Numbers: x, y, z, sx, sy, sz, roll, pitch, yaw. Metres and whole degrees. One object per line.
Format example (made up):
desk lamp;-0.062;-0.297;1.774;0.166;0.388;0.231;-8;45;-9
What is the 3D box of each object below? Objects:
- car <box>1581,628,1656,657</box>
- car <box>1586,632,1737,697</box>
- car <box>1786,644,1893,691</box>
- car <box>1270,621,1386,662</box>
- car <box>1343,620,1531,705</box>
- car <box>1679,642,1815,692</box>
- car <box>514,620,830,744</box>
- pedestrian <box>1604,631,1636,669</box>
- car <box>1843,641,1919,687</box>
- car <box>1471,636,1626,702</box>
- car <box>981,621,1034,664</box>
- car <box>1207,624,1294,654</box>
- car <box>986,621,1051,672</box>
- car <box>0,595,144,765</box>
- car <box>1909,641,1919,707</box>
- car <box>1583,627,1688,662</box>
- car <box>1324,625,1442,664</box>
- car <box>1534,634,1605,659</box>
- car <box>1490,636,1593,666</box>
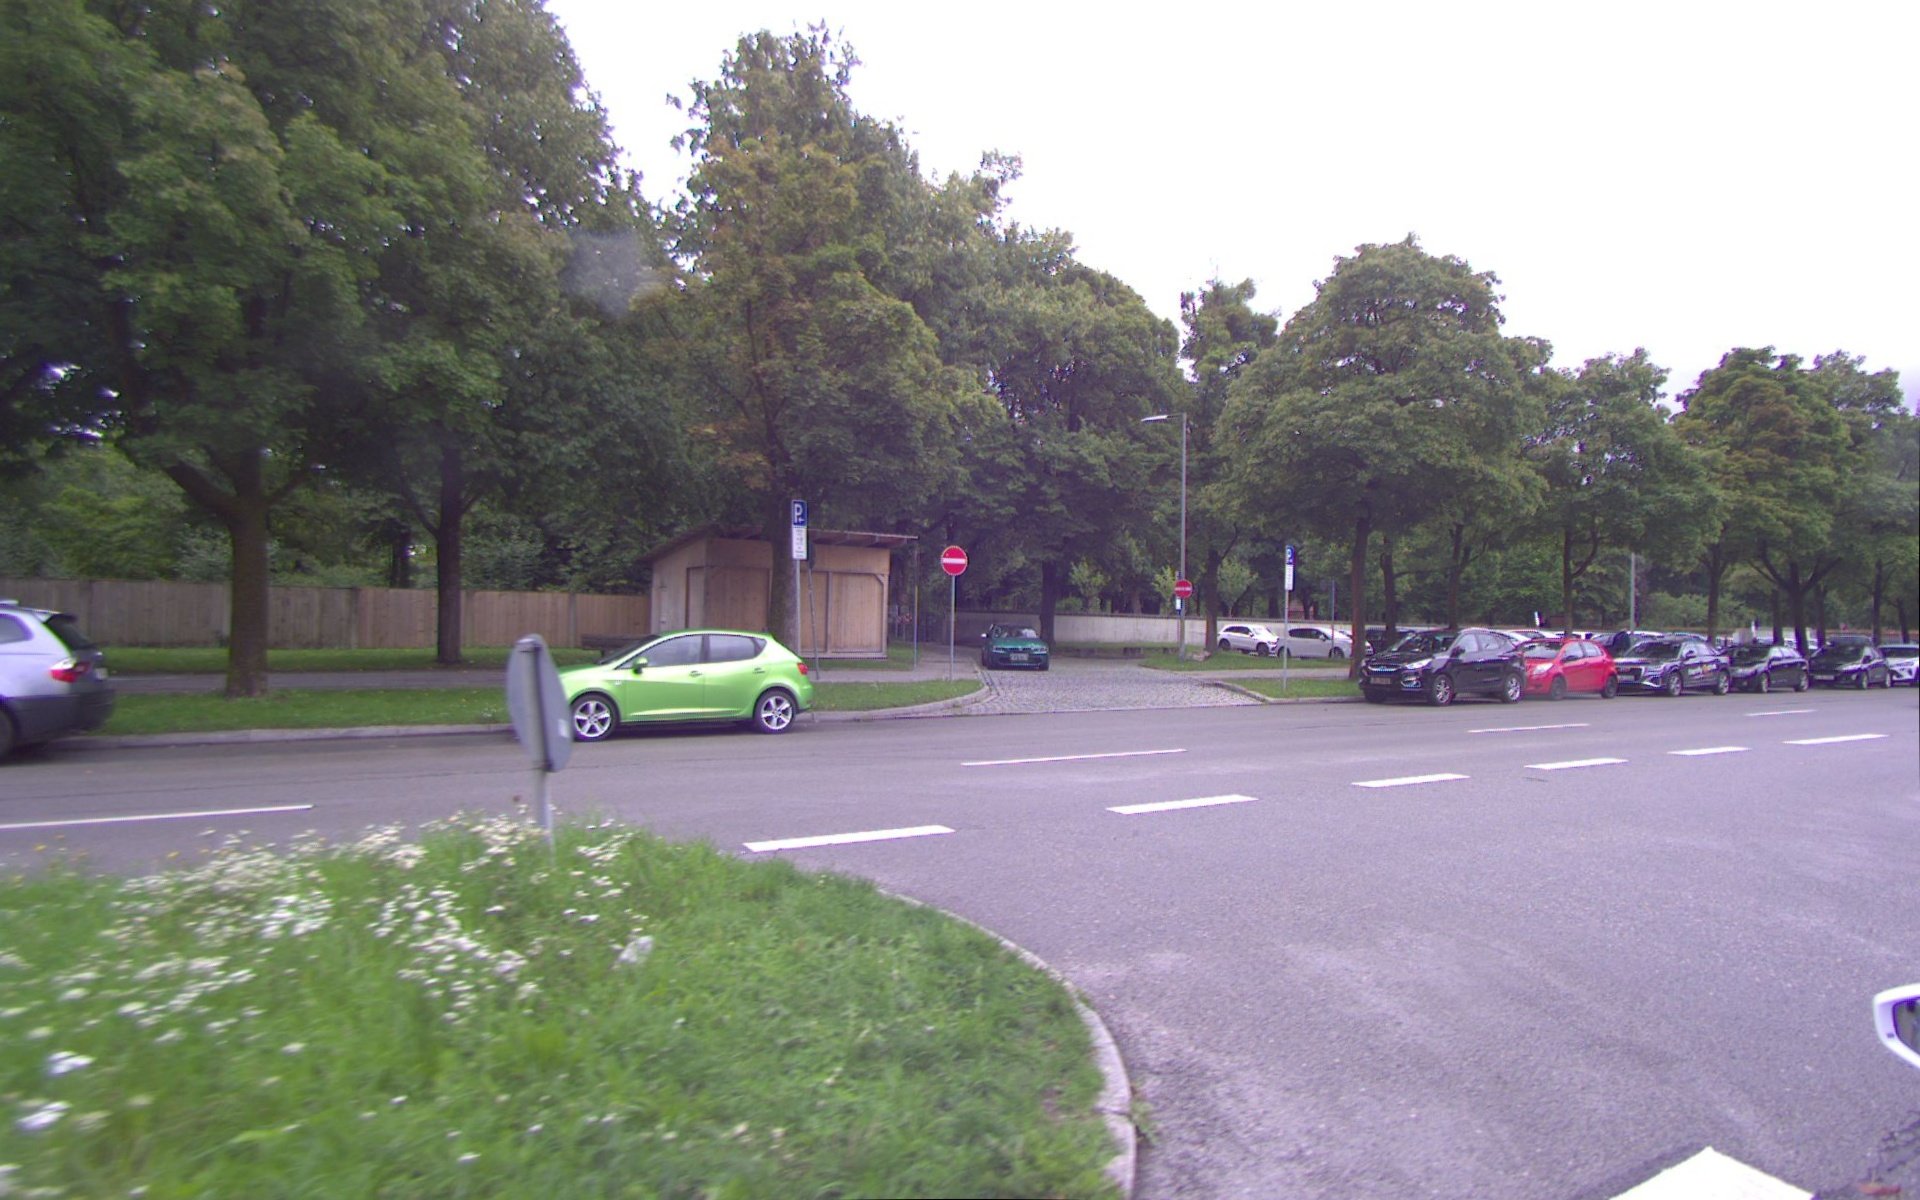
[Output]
car;51.138;3.277;78.066;1.977;2.061;4.484;2;-1;-30
car;19.282;1.742;27.591;4.063;1.620;1.814;2;-1;-29
car;29.497;2.225;33.666;3.960;1.466;1.810;2;-3;-35
car;14.618;1.619;40.066;1.980;1.461;3.961;2;-1;-35
car;10.771;1.414;22.609;4.192;1.722;1.812;3;-1;-32
car;23.817;1.993;30.400;3.950;1.428;1.814;2;-3;-28
car;-3.956;1.075;13.953;3.952;1.519;1.633;2;-2;-29
pedestrian;26.984;2.040;41.080;0.846;1.515;0.791;2;-1;-30
car;33.970;2.329;36.381;4.251;1.547;1.812;3;-3;-32
car;14.908;1.733;25.424;3.767;1.499;1.812;3;-1;-32
car;1.716;1.538;37.565;1.822;1.428;4.470;1;-1;1
car;15.929;2.129;55.291;1.977;1.461;4.484;2;-1;-30
car;1.779;1.423;31.662;1.822;1.428;3.860;1;-1;1
car;-11.005;0.761;9.826;4.405;1.652;1.813;2;-2;-31
car;23.838;1.705;23.054;4.728;1.467;1.806;2;-2;-31
car;33.344;2.189;49.682;1.792;1.591;3.971;2;-1;-28
car;17.322;1.801;41.298;1.978;1.461;4.112;2;-1;-32
car;42.836;3.272;70.670;1.746;1.617;3.976;2;-1;-25
car;27.713;2.417;47.951;1.674;1.275;3.959;2;-1;-36
